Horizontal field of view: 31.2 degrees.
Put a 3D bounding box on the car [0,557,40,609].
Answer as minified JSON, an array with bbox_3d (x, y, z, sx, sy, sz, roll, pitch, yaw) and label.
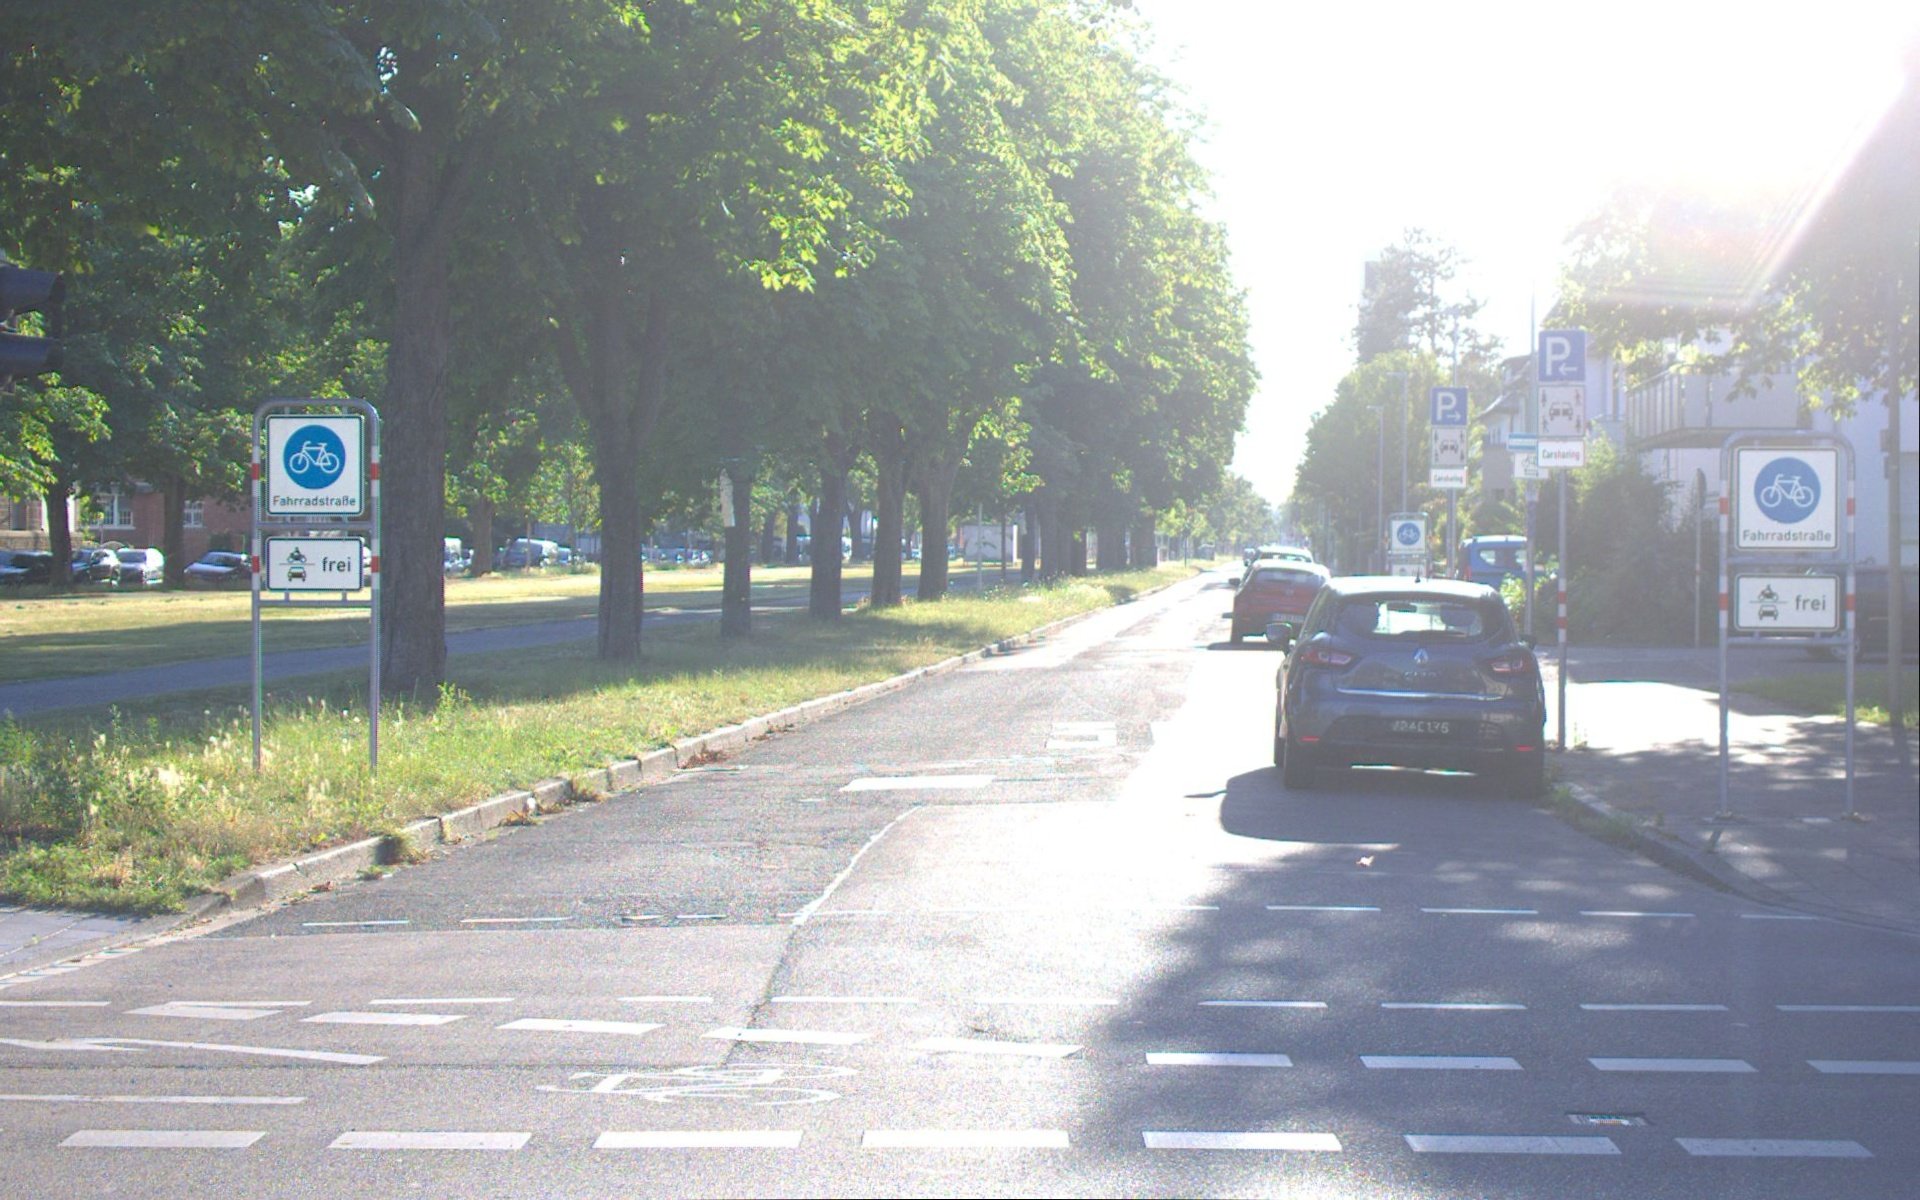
[{"bbox_3d":[-31.726,-0.577,111.667,1.994,1.653,4.373,3,1,7],"label":"car"}]

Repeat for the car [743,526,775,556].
[{"bbox_3d":[-13.853,-4.054,237.634,1.654,1.932,3.567,3,-1,5],"label":"car"}]

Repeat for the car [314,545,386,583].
[{"bbox_3d":[-27.999,-1.652,157.937,1.994,1.653,4.354,3,1,7],"label":"car"}]

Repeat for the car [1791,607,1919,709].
[{"bbox_3d":[14.391,0.862,50.549,3.987,1.442,1.716,1,0,5],"label":"car"}]

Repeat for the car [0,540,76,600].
[{"bbox_3d":[-27.671,-0.904,100.977,1.880,1.668,4.314,3,1,6],"label":"car"}]

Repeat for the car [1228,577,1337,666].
[{"bbox_3d":[5.416,0.333,57.801,1.710,1.355,4.202,3,1,5],"label":"car"}]

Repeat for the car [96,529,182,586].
[{"bbox_3d":[-30.709,-1.584,128.679,1.994,2.007,4.000,3,1,4],"label":"car"}]

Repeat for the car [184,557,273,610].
[{"bbox_3d":[-25.774,-0.591,121.275,1.812,1.775,4.121,3,1,6],"label":"car"}]

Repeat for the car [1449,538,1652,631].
[{"bbox_3d":[12.406,-0.321,72.398,3.987,1.816,1.759,0,-4,1],"label":"car"}]

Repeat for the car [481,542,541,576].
[{"bbox_3d":[-22.376,-2.067,171.481,1.994,1.653,4.570,1,1,5],"label":"car"}]

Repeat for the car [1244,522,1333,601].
[{"bbox_3d":[7.953,-0.954,83.532,1.994,1.775,4.000,3,2,4],"label":"car"}]

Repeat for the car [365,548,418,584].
[{"bbox_3d":[-27.359,-1.648,165.475,1.639,1.637,3.854,3,1,4],"label":"car"}]

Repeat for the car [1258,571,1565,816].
[{"bbox_3d":[3.119,0.585,24.538,1.726,1.506,4.540,3,1,3],"label":"car"}]
